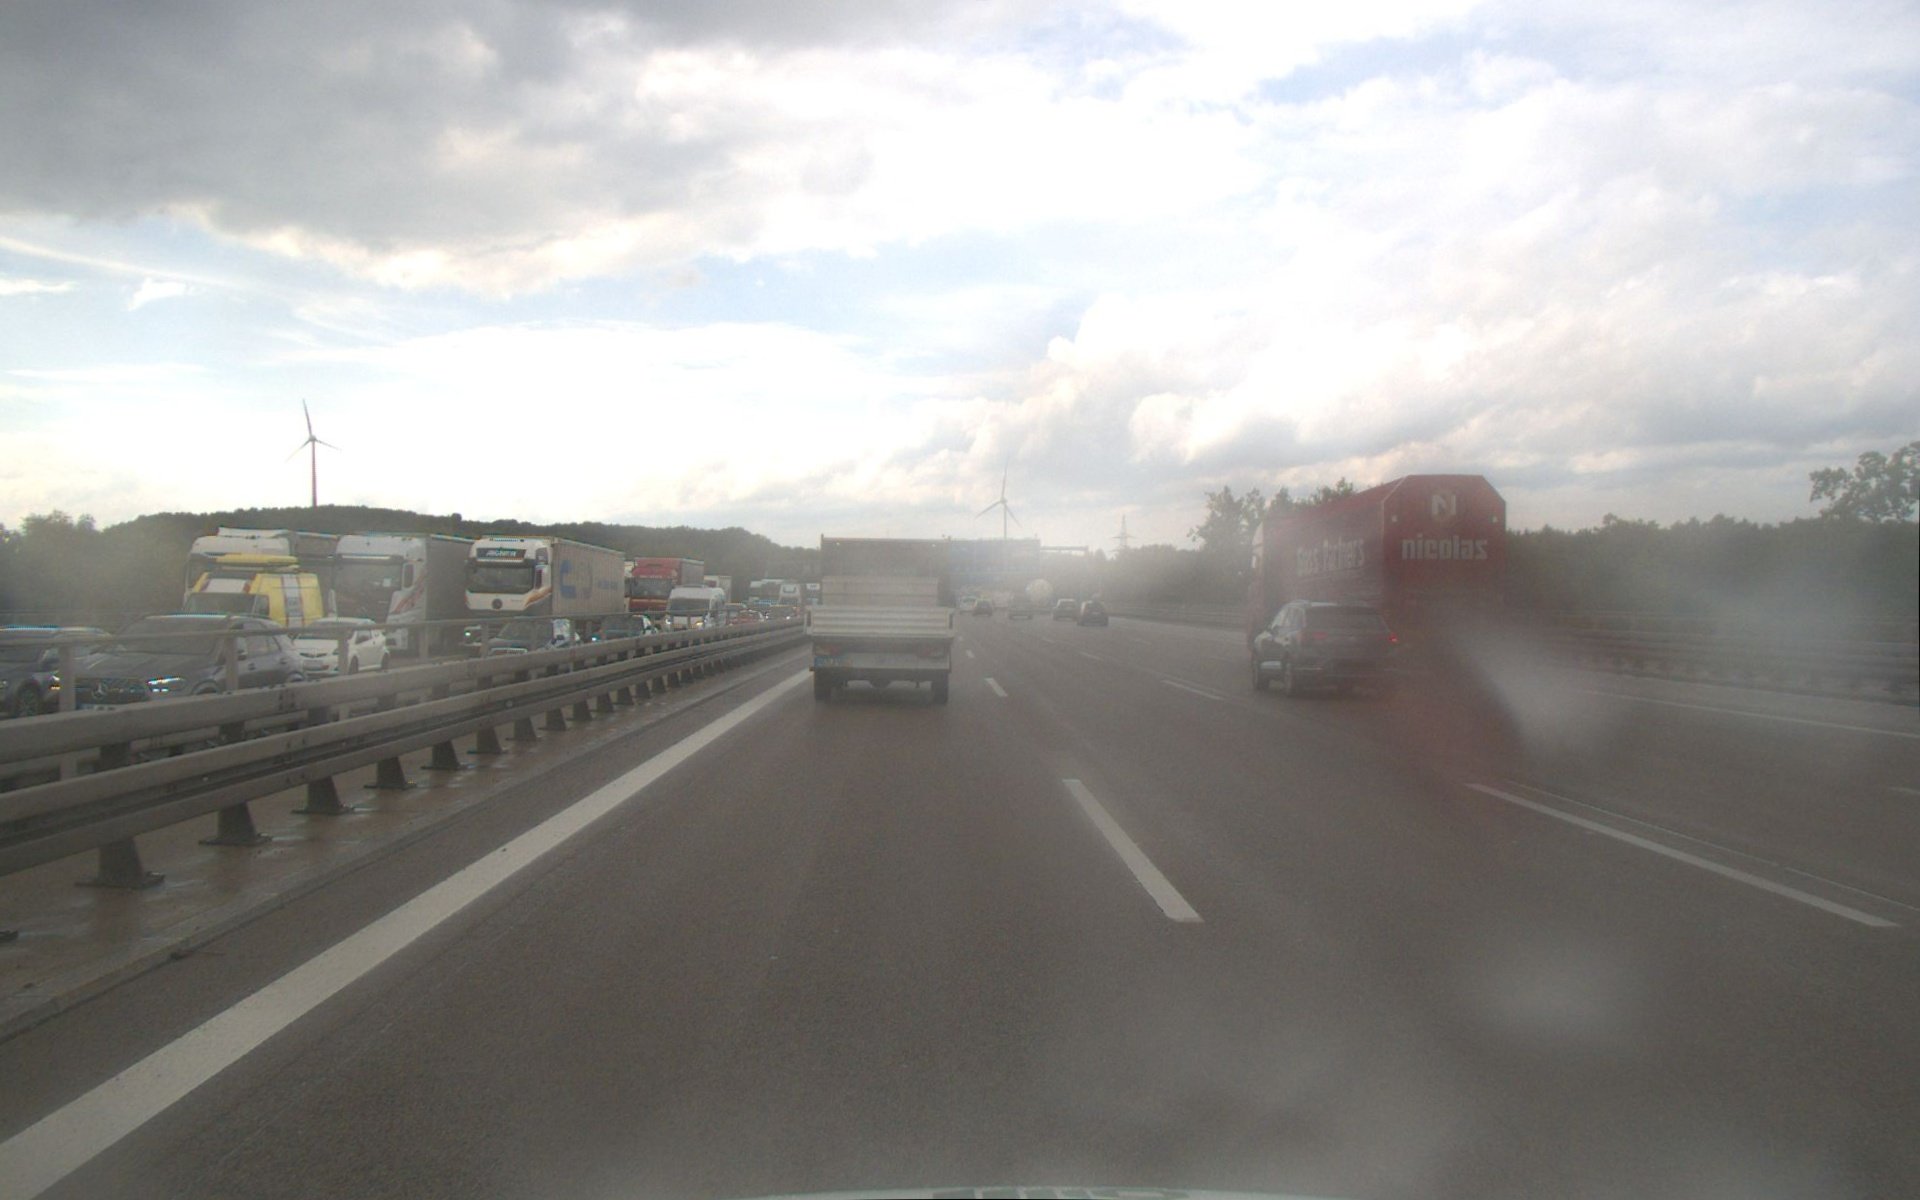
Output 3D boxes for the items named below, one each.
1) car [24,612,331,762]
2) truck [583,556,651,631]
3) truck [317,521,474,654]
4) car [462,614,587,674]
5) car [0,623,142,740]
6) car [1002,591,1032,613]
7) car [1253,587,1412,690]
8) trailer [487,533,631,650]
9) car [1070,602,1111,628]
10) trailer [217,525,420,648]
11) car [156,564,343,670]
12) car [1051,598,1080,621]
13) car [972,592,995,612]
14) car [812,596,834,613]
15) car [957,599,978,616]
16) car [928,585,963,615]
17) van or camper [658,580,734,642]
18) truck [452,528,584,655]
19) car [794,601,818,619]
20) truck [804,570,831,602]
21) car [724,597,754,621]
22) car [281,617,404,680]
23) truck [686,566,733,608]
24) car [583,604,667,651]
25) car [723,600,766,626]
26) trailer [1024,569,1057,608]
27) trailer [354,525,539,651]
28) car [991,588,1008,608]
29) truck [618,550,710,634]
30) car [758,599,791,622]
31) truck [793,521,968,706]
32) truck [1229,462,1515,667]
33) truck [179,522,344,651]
[{"bbox_3d":[-10.765,1.103,23.273,1.874,1.797,5.330,0,0,-1],"label":"car"},{"bbox_3d":[-19.577,-0.362,94.623,2.787,4.099,4.963,1,0,0],"label":"truck"},{"bbox_3d":[-19.070,-0.408,56.395,2.844,4.219,7.102,-1,0,0],"label":"truck"},{"bbox_3d":[-11.471,1.112,43.941,1.974,1.411,5.458,-1,0,-1],"label":"car"},{"bbox_3d":[-14.802,1.221,26.034,1.713,1.604,4.686,-1,0,-3],"label":"car"},{"bbox_3d":[4.613,0.174,134.549,2.055,1.729,3.998,0,0,-3],"label":"car"},{"bbox_3d":[6.113,0.599,27.509,1.756,1.590,3.721,1,0,-1],"label":"car"},{"bbox_3d":[-15.771,-0.328,66.187,2.822,4.218,13.025,-1,0,-1],"label":"trailer"},{"bbox_3d":[8.460,0.956,107.826,2.063,1.634,5.063,0,0,-3],"label":"car"},{"bbox_3d":[-23.433,-0.483,61.363,2.701,4.063,12.306,-1,0,0],"label":"trailer"},{"bbox_3d":[-18.576,0.396,43.689,2.112,2.548,6.771,-1,0,-1],"label":"car"},{"bbox_3d":[8.329,0.755,131.063,2.003,1.729,5.006,0,0,0],"label":"car"},{"bbox_3d":[2.158,0.169,151.210,2.003,1.729,3.999,0,0,-1],"label":"car"},{"bbox_3d":[-12.579,0.403,152.398,1.685,1.529,5.500,-1,0,-2],"label":"car"},{"bbox_3d":[0.715,0.748,165.763,1.932,1.729,3.998,0,0,-3],"label":"car"},{"bbox_3d":[-0.826,-0.005,96.562,2.003,1.729,4.000,0,0,0],"label":"car"},{"bbox_3d":[-11.280,0.435,71.186,2.232,2.539,7.301,-1,0,-1],"label":"van or camper"},{"bbox_3d":[-15.652,-0.301,59.189,2.822,4.253,7.555,-1,0,-1],"label":"truck"},{"bbox_3d":[-12.439,0.762,134.010,1.541,1.377,4.384,-1,0,0],"label":"car"},{"bbox_3d":[-19.643,-1.969,227.993,3.113,4.267,7.737,0,1,-1],"label":"truck"},{"bbox_3d":[-15.724,0.639,117.964,1.728,1.653,4.778,0,0,-3],"label":"car"},{"bbox_3d":[-15.226,1.158,40.970,1.569,1.411,4.099,-1,0,-1],"label":"car"},{"bbox_3d":[-24.626,-1.219,163.343,3.160,3.978,10.279,1,0,-1],"label":"truck"},{"bbox_3d":[-11.317,0.897,56.174,1.883,1.443,5.163,-1,0,-1],"label":"car"},{"bbox_3d":[-12.258,0.731,94.478,1.883,1.443,5.010,-1,0,-1],"label":"car"},{"bbox_3d":[9.197,-1.300,189.287,3.264,4.249,11.838,1,0,1],"label":"trailer"},{"bbox_3d":[-19.026,-0.440,62.486,2.821,4.218,13.029,-1,0,0],"label":"trailer"},{"bbox_3d":[5.042,-0.234,210.518,2.003,2.541,4.000,0,0,0],"label":"car"},{"bbox_3d":[-15.816,-0.421,89.319,2.923,4.221,12.519,-1,0,-1],"label":"truck"},{"bbox_3d":[-12.666,0.701,113.072,1.794,1.477,4.000,0,0,0],"label":"car"},{"bbox_3d":[-1.236,0.152,25.821,2.306,2.450,7.354,1,0,-3],"label":"truck"},{"bbox_3d":[9.508,-0.771,40.857,3.088,4.073,15.636,0,0,0],"label":"truck"},{"bbox_3d":[-23.438,-0.446,55.879,2.702,4.063,6.576,-1,0,0],"label":"truck"}]
